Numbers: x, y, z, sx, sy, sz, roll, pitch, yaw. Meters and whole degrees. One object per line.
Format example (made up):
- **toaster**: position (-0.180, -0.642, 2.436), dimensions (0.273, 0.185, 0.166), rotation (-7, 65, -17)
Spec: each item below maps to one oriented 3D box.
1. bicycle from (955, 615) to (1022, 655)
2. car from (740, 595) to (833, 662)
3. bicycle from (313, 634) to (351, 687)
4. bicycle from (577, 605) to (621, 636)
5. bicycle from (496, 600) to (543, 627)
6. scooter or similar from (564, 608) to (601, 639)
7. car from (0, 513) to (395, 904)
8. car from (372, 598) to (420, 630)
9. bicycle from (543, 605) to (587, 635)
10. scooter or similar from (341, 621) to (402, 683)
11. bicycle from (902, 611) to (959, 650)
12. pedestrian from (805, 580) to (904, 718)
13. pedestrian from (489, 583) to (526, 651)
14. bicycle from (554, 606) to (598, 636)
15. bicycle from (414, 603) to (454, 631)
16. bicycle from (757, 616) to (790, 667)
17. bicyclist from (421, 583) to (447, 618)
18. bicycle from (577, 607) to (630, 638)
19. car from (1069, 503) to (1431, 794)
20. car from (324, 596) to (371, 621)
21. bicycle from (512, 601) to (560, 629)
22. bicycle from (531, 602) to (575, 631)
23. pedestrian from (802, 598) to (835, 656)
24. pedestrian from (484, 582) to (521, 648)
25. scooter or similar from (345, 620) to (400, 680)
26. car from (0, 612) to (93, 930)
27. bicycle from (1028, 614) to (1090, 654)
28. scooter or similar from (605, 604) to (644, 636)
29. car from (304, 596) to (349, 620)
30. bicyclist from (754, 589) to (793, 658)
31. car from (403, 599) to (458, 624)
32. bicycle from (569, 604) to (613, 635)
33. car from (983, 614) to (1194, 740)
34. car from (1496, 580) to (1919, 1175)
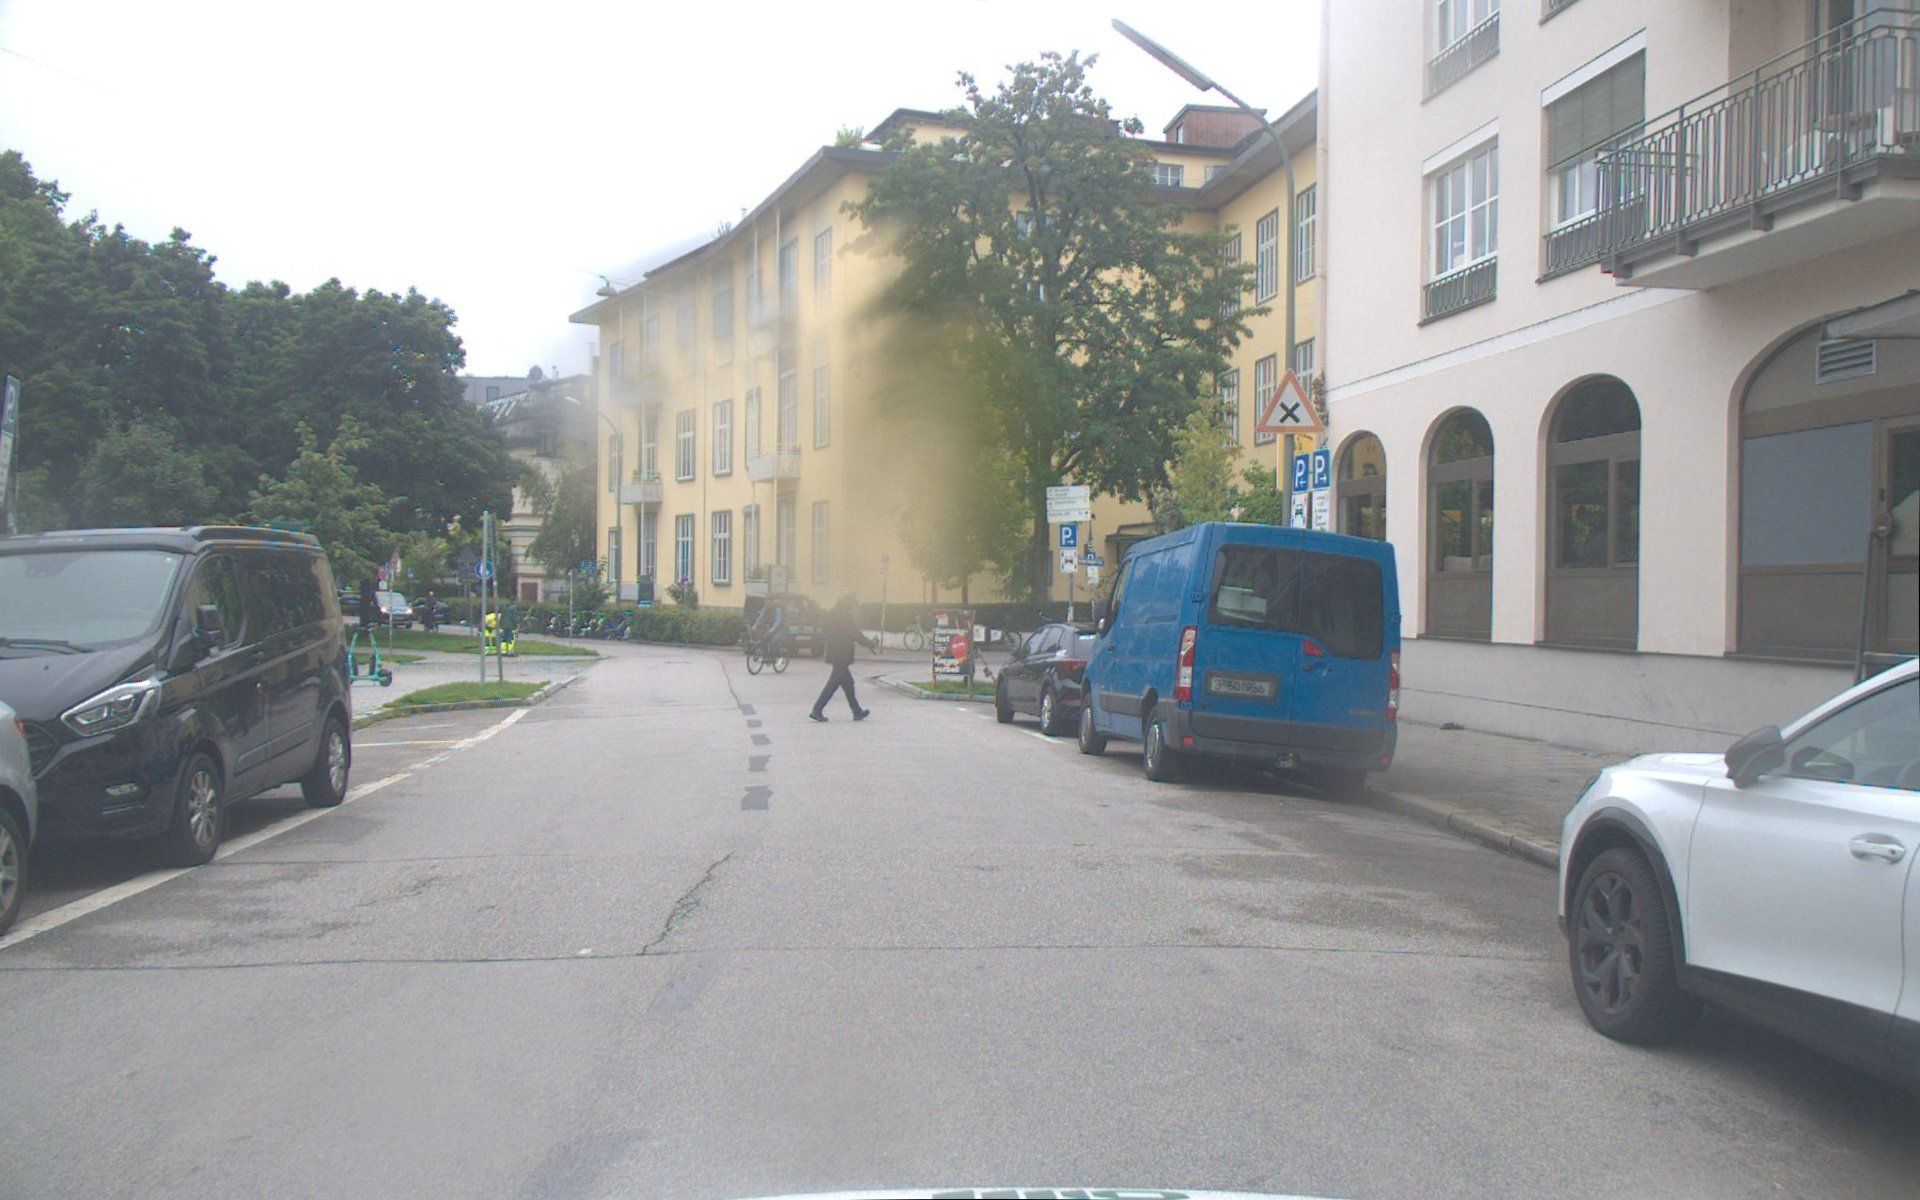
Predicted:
- **bicycle**: position (0.904, 1.103, 52.735), dimensions (2.023, 1.222, 0.596), rotation (1, 0, 13)
- **car**: position (-5.592, 0.871, 52.917), dimensions (1.738, 1.907, 4.350), rotation (5, -1, -22)
- **bicycle**: position (-12.382, 1.180, 32.598), dimensions (0.536, 0.991, 1.143), rotation (0, -1, -29)
- **bicycle**: position (-15.756, 0.874, 72.216), dimensions (0.718, 1.328, 2.154), rotation (0, 0, 26)
- **bicycle**: position (-21.694, 0.671, 81.502), dimensions (2.123, 1.328, 0.728), rotation (0, 0, -27)
- **scooter or similar**: position (-16.745, 1.040, 73.305), dimensions (0.717, 1.328, 1.730), rotation (0, 0, 23)
- **car**: position (-5.539, 0.592, 11.147), dimensions (2.033, 1.998, 5.343), rotation (-2, 0, -6)
- **car**: position (-28.382, 0.692, 83.108), dimensions (1.890, 1.496, 3.969), rotation (1, 0, -25)
- **bicycle**: position (-17.750, 0.883, 74.421), dimensions (0.718, 1.328, 2.154), rotation (0, 0, 26)
- **scooter or similar**: position (-11.785, 1.038, 33.123), dimensions (1.092, 1.209, 0.345), rotation (1, 0, 1)
- **bicycle**: position (-0.955, 0.987, 53.906), dimensions (1.890, 1.222, 0.593), rotation (1, 0, 37)
- **pedestrian**: position (-1.439, 0.665, 22.548), dimensions (0.919, 1.832, 0.950), rotation (-3, -2, 43)
- **pedestrian**: position (-13.686, 0.507, 50.032), dimensions (0.913, 2.049, 0.956), rotation (0, 0, -5)
- **bicycle**: position (-17.120, 0.917, 73.822), dimensions (0.718, 1.328, 2.154), rotation (0, 0, 26)
- **bicycle**: position (-23.383, 0.754, 73.508), dimensions (2.106, 1.236, 0.741), rotation (0, 0, 42)
- **bicycle**: position (-4.432, 0.970, 39.260), dimensions (0.658, 1.179, 1.999), rotation (1, -1, -10)
- **bicyclist**: position (-23.372, 0.021, 73.498), dimensions (0.928, 1.547, 0.741), rotation (-1, 0, 42)
- **bicycle**: position (-15.125, 0.946, 70.186), dimensions (0.722, 1.328, 2.142), rotation (0, 0, 43)
- **car**: position (2.613, 0.460, 16.433), dimensions (2.039, 2.272, 5.237), rotation (5, -2, -6)
- **car**: position (-40.715, 0.592, 109.974), dimensions (1.977, 1.634, 3.950), rotation (0, 0, -35)
- **bicycle**: position (-20.455, 0.728, 79.784), dimensions (2.123, 1.328, 0.728), rotation (0, 0, -27)
- **bicycle**: position (-18.700, 0.761, 76.033), dimensions (0.718, 1.328, 2.154), rotation (0, 0, 26)
- **pedestrian**: position (-4.543, 0.855, 53.134), dimensions (0.862, 1.855, 0.793), rotation (1, 0, -21)
- **pedestrian**: position (-14.234, 0.464, 51.466), dimensions (0.913, 2.049, 0.956), rotation (0, 0, -5)
- **scooter or similar**: position (-12.027, 1.015, 33.880), dimensions (0.337, 1.209, 1.117), rotation (1, 0, 29)
- **car**: position (-5.139, 0.834, 5.958), dimensions (1.660, 1.417, 4.499), rotation (-4, 0, -1)
- **bicycle**: position (3.161, 1.076, 52.728), dimensions (1.884, 1.222, 0.595), rotation (1, 0, -5)
- **scooter or similar**: position (-14.059, 0.839, 69.439), dimensions (0.716, 1.328, 2.158), rotation (0, 0, 15)
- **car**: position (-43.899, 0.538, 114.547), dimensions (1.977, 1.634, 3.950), rotation (0, 0, -35)
- **bicyclist**: position (-4.448, 0.559, 39.371), dimensions (0.847, 1.636, 0.945), rotation (1, -1, -10)
- **car**: position (-29.991, 0.656, 93.682), dimensions (1.976, 1.396, 3.953), rotation (0, 0, -34)
- **bicycle**: position (-16.282, 0.860, 72.995), dimensions (0.718, 1.328, 2.154), rotation (0, 0, 26)
- **car**: position (1.636, 0.979, 22.571), dimensions (1.648, 1.413, 4.292), rotation (4, -1, -12)
- **car**: position (3.390, 0.778, 4.754), dimensions (1.751, 1.560, 4.643), rotation (3, 0, -6)
